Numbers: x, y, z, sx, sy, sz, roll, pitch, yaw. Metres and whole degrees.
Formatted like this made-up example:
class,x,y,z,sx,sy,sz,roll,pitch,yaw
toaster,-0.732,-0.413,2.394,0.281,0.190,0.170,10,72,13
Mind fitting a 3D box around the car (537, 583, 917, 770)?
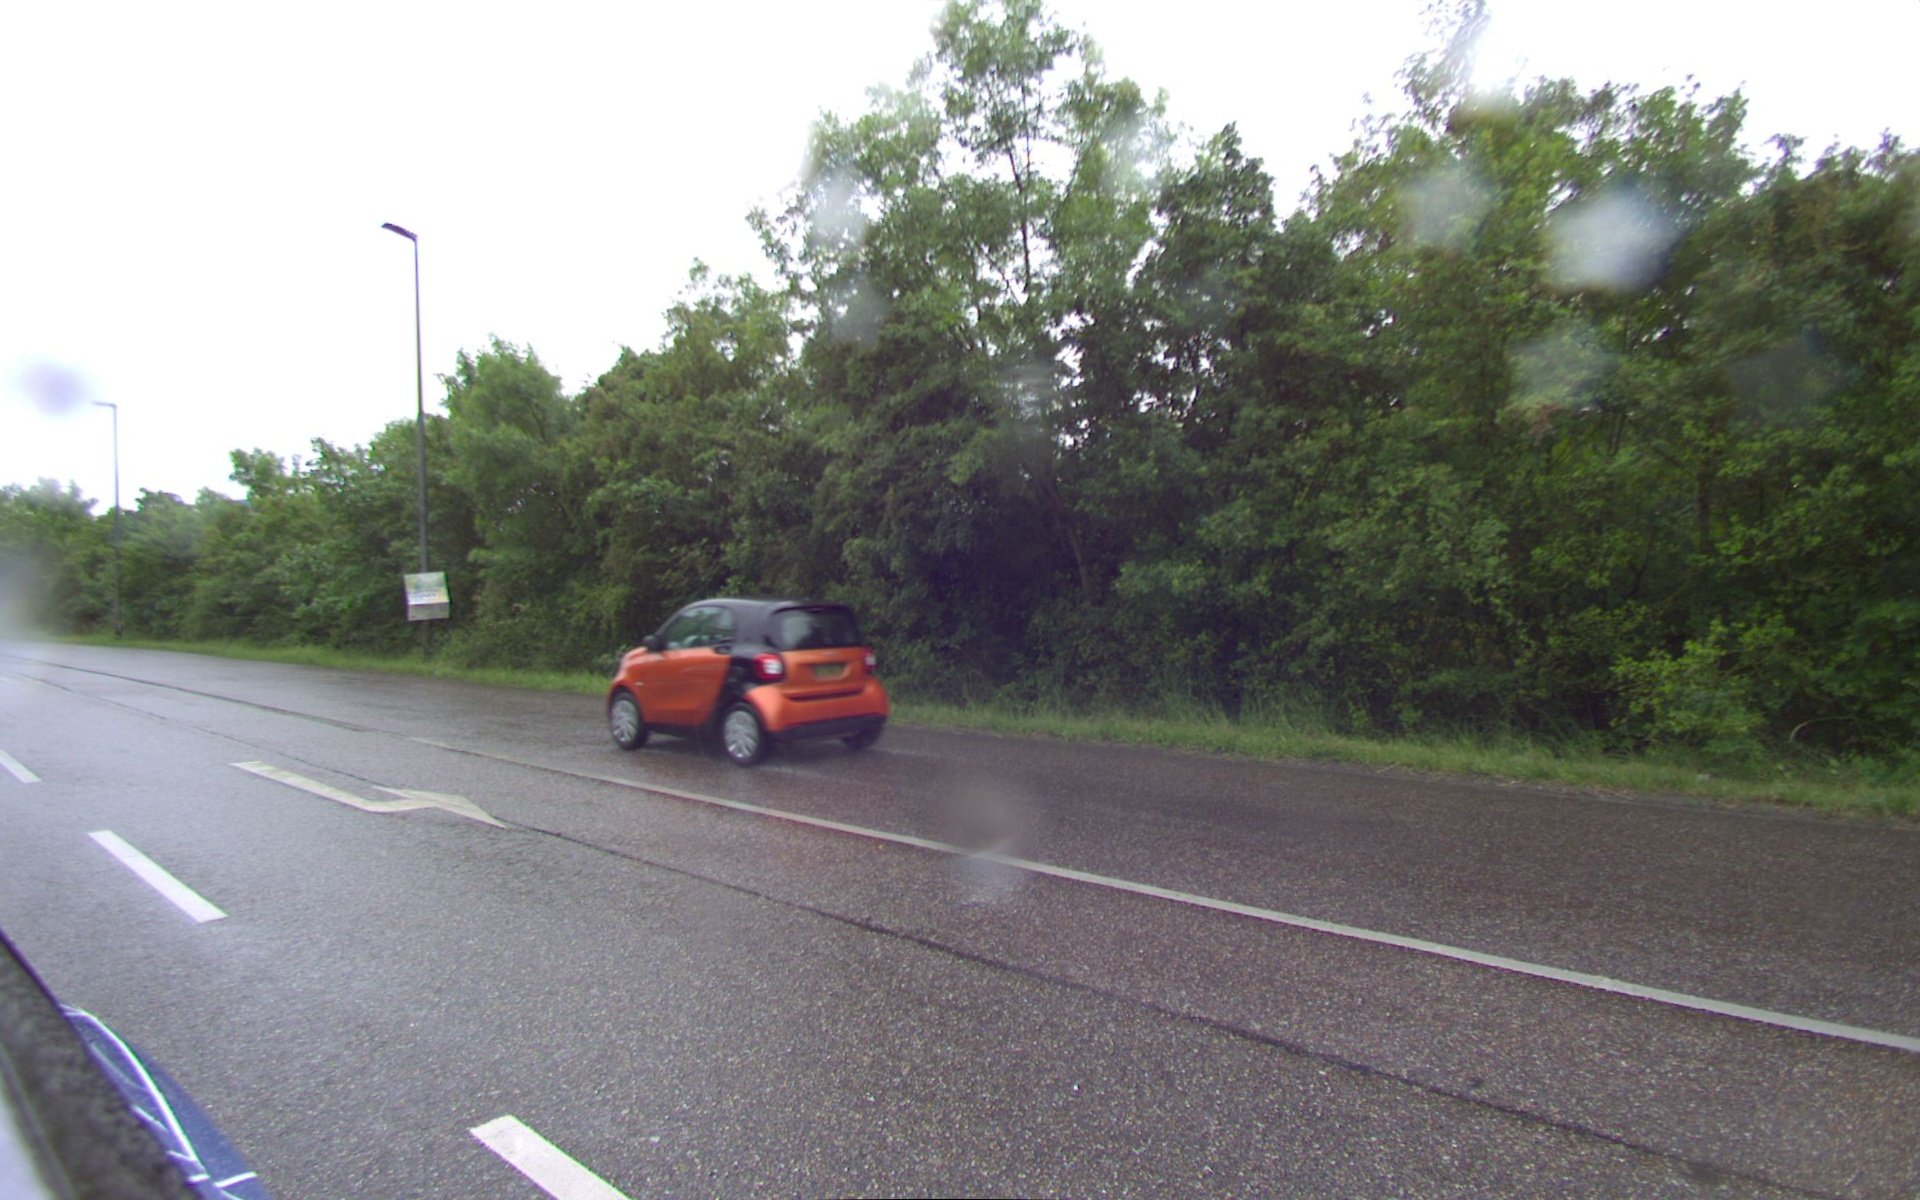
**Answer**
class,x,y,z,sx,sy,sz,roll,pitch,yaw
car,-2.569,0.649,10.708,3.998,1.597,1.973,0,0,41
